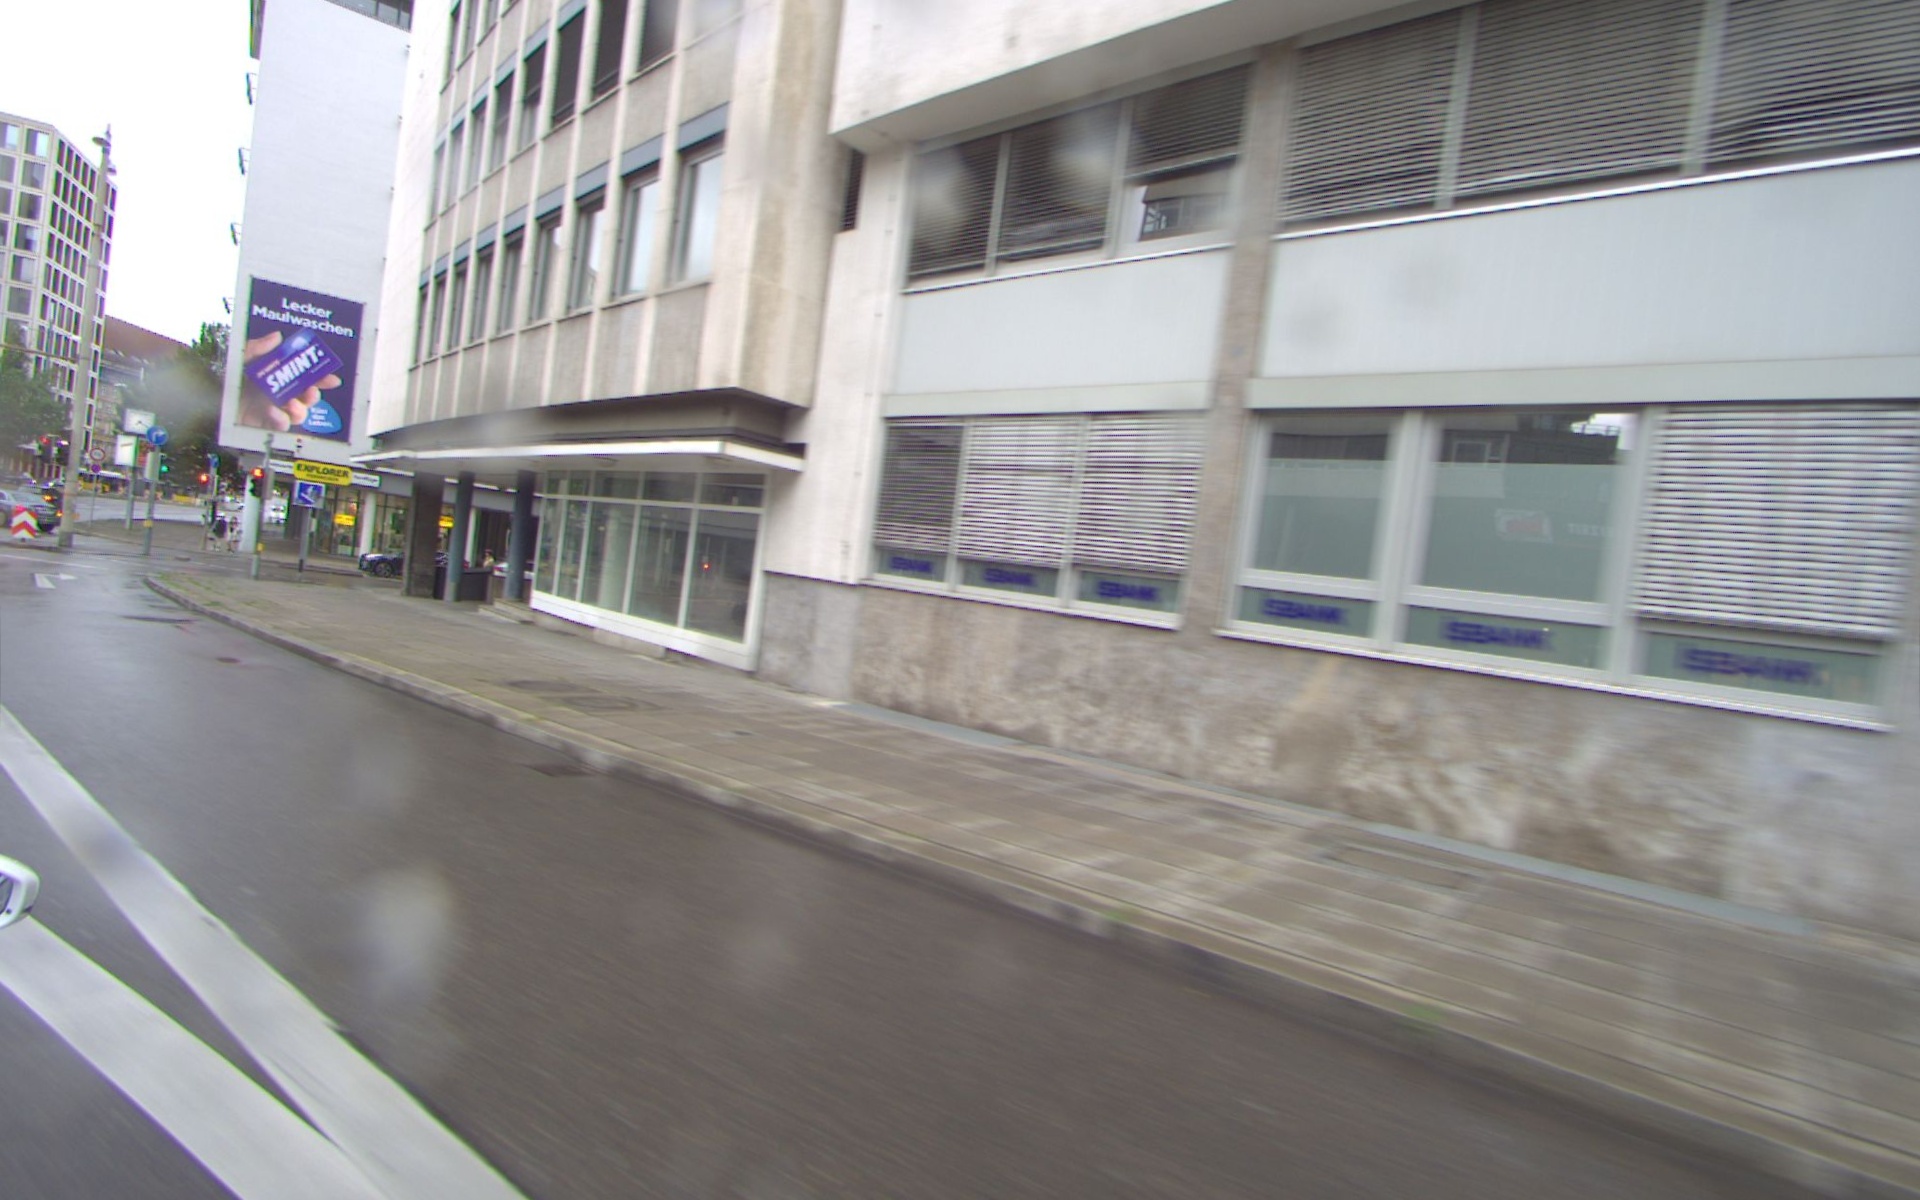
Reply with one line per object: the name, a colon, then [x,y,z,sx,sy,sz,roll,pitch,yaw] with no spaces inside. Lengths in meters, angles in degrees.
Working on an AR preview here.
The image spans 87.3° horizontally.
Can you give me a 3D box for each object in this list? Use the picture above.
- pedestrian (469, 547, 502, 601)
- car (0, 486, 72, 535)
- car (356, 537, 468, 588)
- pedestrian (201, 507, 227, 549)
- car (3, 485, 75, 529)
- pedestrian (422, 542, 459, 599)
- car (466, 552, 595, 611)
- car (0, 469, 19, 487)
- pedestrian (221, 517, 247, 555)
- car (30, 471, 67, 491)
pedestrian: [-16.824,-0.929,35.694,0.724,1.820,0.731,7,1,-39]
car: [-37.796,-3.690,39.755,4.274,1.527,1.918,8,-1,16]
car: [-24.100,-1.652,44.314,3.969,1.570,1.980,10,-1,-37]
pedestrian: [-31.979,-3.072,43.116,0.724,1.689,0.683,7,0,-40]
car: [-47.120,-4.733,51.579,2.037,1.786,4.313,9,-1,-36]
pedestrian: [-17.750,-1.016,34.370,0.809,1.820,0.702,7,1,-40]
car: [-17.842,-0.743,41.878,4.494,1.771,1.980,8,-1,-37]
car: [-105.443,-13.467,110.408,1.978,1.727,4.276,8,1,-28]
pedestrian: [-31.408,-2.778,43.517,0.724,1.543,0.751,7,0,-39]
car: [-102.248,-13.332,112.913,1.977,1.727,3.971,8,1,-27]
